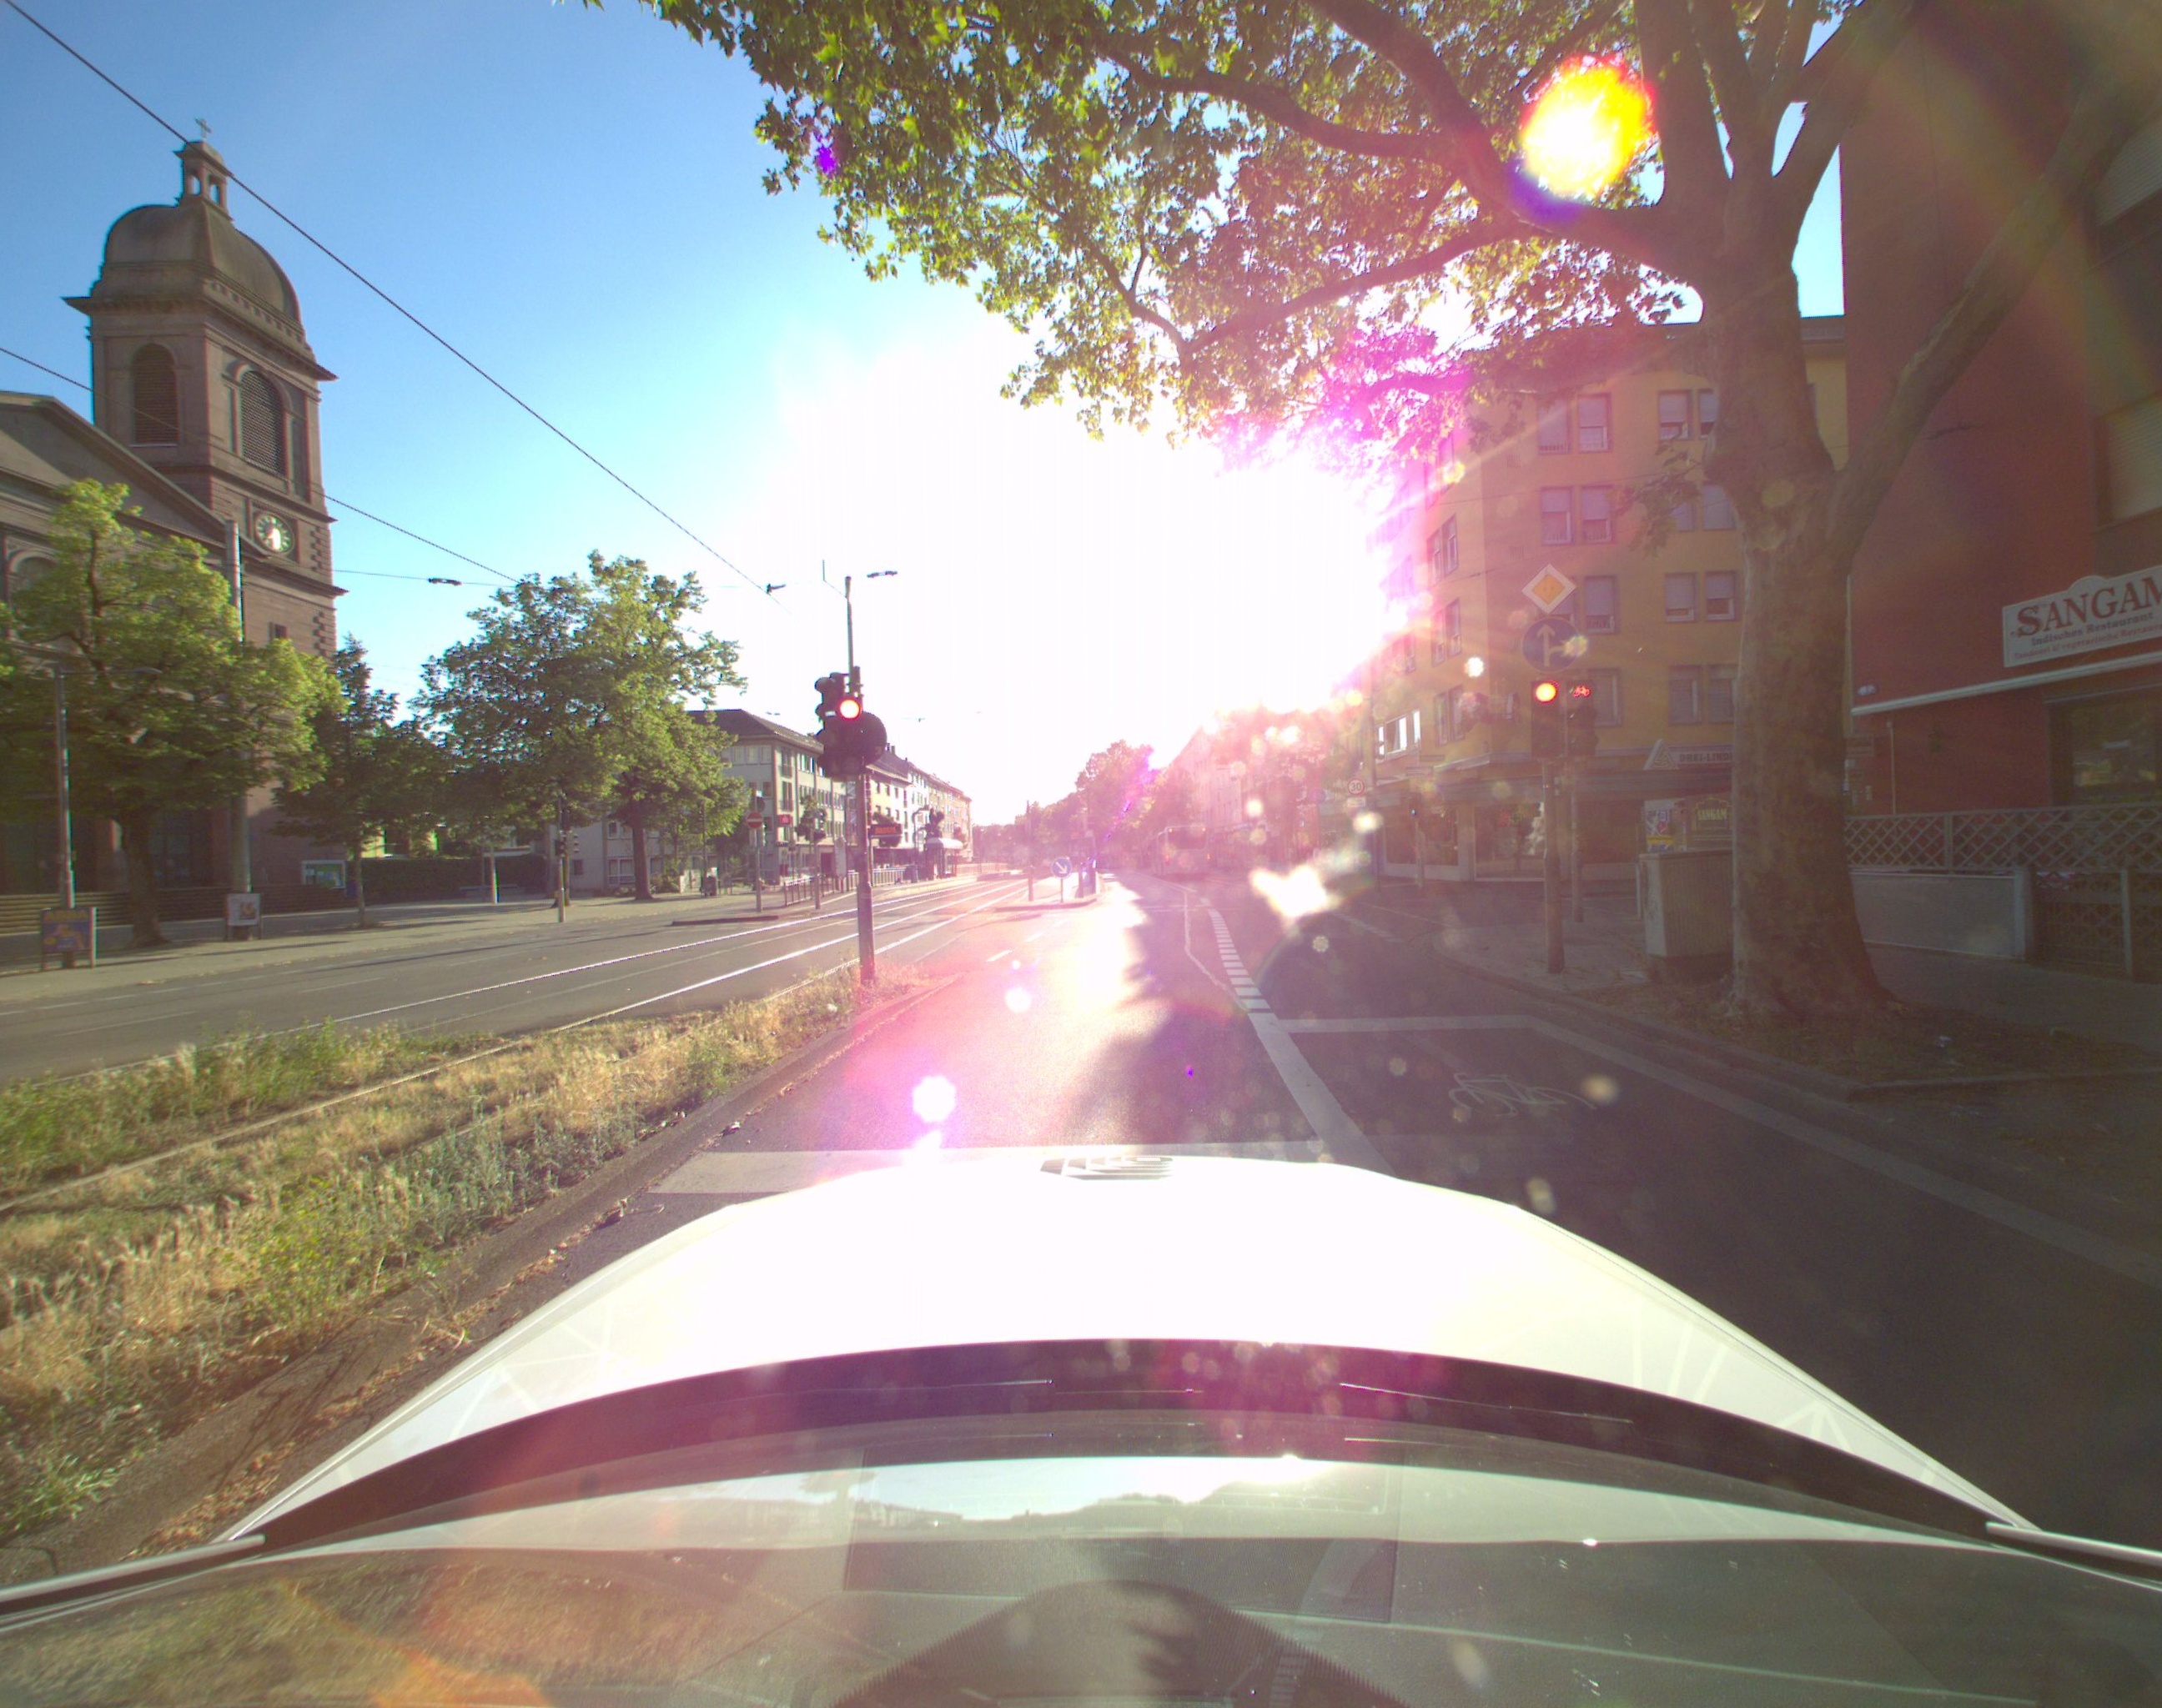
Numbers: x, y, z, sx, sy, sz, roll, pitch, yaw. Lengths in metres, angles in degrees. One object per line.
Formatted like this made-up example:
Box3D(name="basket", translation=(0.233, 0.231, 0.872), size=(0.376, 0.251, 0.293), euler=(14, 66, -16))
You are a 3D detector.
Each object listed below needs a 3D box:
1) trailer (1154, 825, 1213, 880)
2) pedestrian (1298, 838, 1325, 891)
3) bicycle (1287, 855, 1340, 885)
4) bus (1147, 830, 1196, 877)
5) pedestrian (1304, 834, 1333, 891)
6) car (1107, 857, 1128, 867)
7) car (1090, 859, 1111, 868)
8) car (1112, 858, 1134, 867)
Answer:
Box3D(name="trailer", translation=(6.113, -0.067, 50.021), size=(2.801, 3.110, 8.798), euler=(0, 0, 2))
Box3D(name="pedestrian", translation=(7.834, 0.345, 27.735), size=(0.677, 1.770, 0.687), euler=(-2, 0, 2))
Box3D(name="bicycle", translation=(8.905, 0.623, 31.242), size=(1.766, 1.021, 0.694), euler=(-4, 0, 1))
Box3D(name="bus", translation=(6.405, -0.028, 58.964), size=(2.801, 3.101, 9.098), euler=(0, 0, 2))
Box3D(name="pedestrian", translation=(7.615, 0.267, 26.137), size=(0.677, 1.770, 0.687), euler=(-2, 0, 2))
Box3D(name="car", translation=(7.229, 1.592, 161.445), size=(3.912, 1.699, 1.817), euler=(-2, 0, -27))
Box3D(name="car", translation=(3.929, 1.897, 166.743), size=(3.912, 1.596, 1.676), euler=(-2, 0, -27))
Box3D(name="car", translation=(8.170, 1.642, 158.555), size=(3.912, 1.699, 1.817), euler=(-2, 0, -27))
